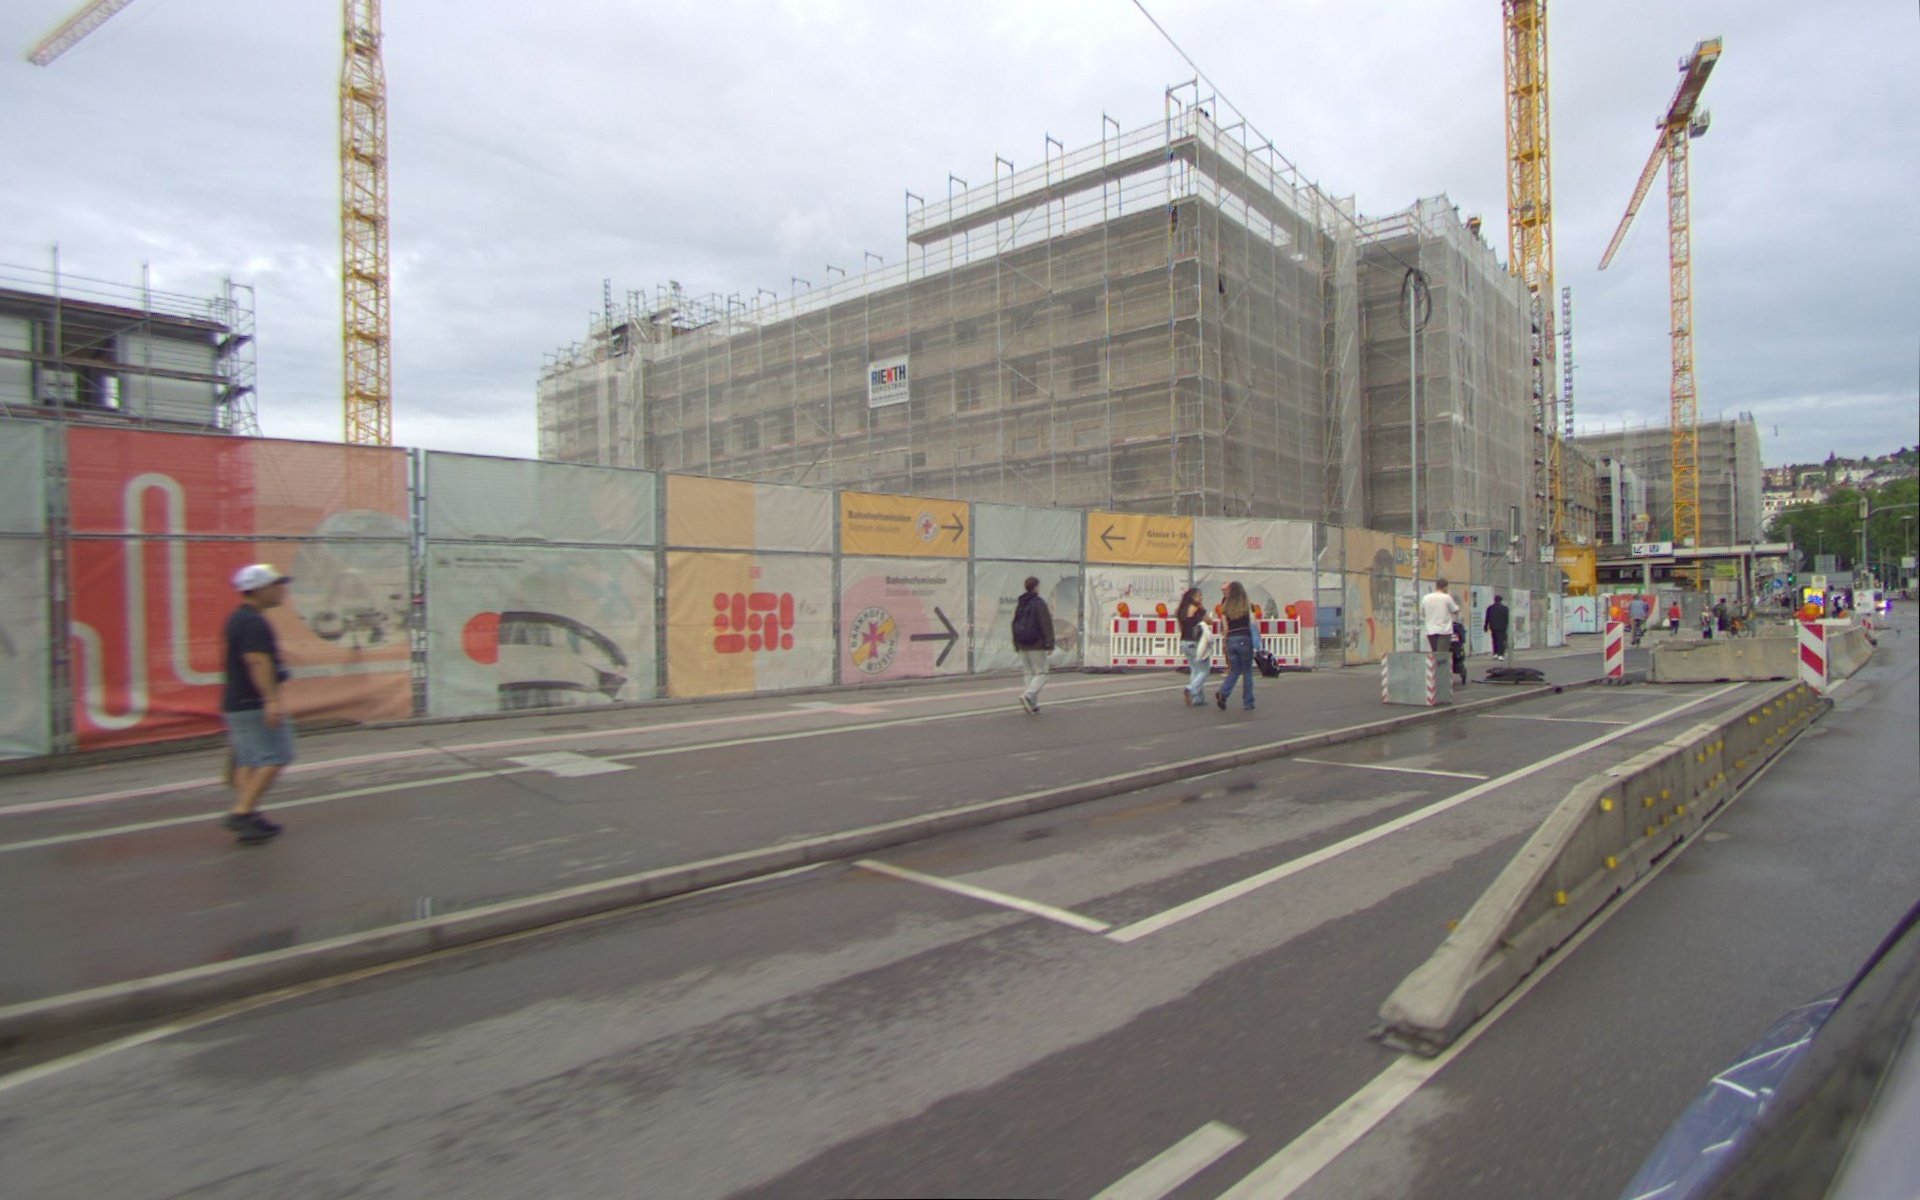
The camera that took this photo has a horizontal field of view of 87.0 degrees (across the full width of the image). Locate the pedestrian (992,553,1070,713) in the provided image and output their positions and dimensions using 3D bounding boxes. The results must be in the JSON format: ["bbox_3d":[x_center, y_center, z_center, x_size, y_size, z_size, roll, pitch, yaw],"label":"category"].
[{"bbox_3d":[0.880,0.401,12.592,0.683,1.913,0.682,-1,-1,44],"label":"pedestrian"}]

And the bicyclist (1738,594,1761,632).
[{"bbox_3d":[36.036,0.590,46.181,0.425,1.726,0.698,0,-1,-30],"label":"bicyclist"}]

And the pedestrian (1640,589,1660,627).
[{"bbox_3d":[37.857,0.430,55.516,0.615,2.039,0.642,0,-1,-24],"label":"pedestrian"}]

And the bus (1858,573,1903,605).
[{"bbox_3d":[96.845,-1.116,106.575,2.986,3.178,7.655,-1,0,39],"label":"bus"}]

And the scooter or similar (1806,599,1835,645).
[{"bbox_3d":[25.449,0.638,29.952,0.522,1.350,1.012,-1,-1,35],"label":"scooter or similar"}]

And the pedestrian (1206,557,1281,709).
[{"bbox_3d":[3.715,0.414,13.262,0.681,1.913,0.684,0,-1,-43],"label":"pedestrian"}]

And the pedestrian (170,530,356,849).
[{"bbox_3d":[-4.206,0.493,6.119,0.642,1.762,0.824,-1,-1,45],"label":"pedestrian"}]

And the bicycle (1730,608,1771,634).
[{"bbox_3d":[36.138,0.957,46.248,1.952,1.148,0.757,0,1,-29],"label":"bicycle"}]

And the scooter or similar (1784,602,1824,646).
[{"bbox_3d":[26.256,0.735,31.474,1.004,1.350,0.494,0,-1,-21],"label":"scooter or similar"}]

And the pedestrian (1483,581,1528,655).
[{"bbox_3d":[14.380,0.463,26.681,0.651,1.919,0.849,0,-1,-43],"label":"pedestrian"}]

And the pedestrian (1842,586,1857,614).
[{"bbox_3d":[65.312,-0.035,74.300,0.730,2.039,0.638,-1,0,36],"label":"pedestrian"}]

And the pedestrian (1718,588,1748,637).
[{"bbox_3d":[32.108,0.510,42.057,0.850,2.037,0.788,0,0,-39],"label":"pedestrian"}]

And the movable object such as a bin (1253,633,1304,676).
[{"bbox_3d":[5.879,0.990,18.691,0.765,0.743,0.597,0,-1,-44],"label":"movable object such as a bin"}]

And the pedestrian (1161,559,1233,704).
[{"bbox_3d":[3.228,0.417,13.787,0.681,1.913,0.684,0,-1,-43],"label":"pedestrian"}]

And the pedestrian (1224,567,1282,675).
[{"bbox_3d":[5.377,0.371,18.573,0.642,1.919,0.768,0,-1,-41],"label":"pedestrian"}]

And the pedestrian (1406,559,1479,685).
[{"bbox_3d":[8.153,0.358,17.097,0.955,2.042,0.803,0,-1,-43],"label":"pedestrian"}]

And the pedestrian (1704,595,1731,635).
[{"bbox_3d":[33.885,0.668,45.247,0.867,1.778,0.814,0,-1,-43],"label":"pedestrian"}]

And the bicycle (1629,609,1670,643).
[{"bbox_3d":[24.239,0.908,35.571,1.948,1.126,0.766,0,-1,-44],"label":"bicycle"}]

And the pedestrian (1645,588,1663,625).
[{"bbox_3d":[39.107,0.354,56.995,0.618,2.039,0.576,-1,-1,10],"label":"pedestrian"}]

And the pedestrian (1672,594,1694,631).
[{"bbox_3d":[35.535,0.619,49.760,0.737,1.748,0.707,3,2,31],"label":"pedestrian"}]

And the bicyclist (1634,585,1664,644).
[{"bbox_3d":[24.133,0.503,35.454,0.589,2.039,0.727,0,-1,-43],"label":"bicyclist"}]

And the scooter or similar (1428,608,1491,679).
[{"bbox_3d":[8.788,0.746,17.812,1.026,1.214,0.665,0,-1,-43],"label":"scooter or similar"}]
